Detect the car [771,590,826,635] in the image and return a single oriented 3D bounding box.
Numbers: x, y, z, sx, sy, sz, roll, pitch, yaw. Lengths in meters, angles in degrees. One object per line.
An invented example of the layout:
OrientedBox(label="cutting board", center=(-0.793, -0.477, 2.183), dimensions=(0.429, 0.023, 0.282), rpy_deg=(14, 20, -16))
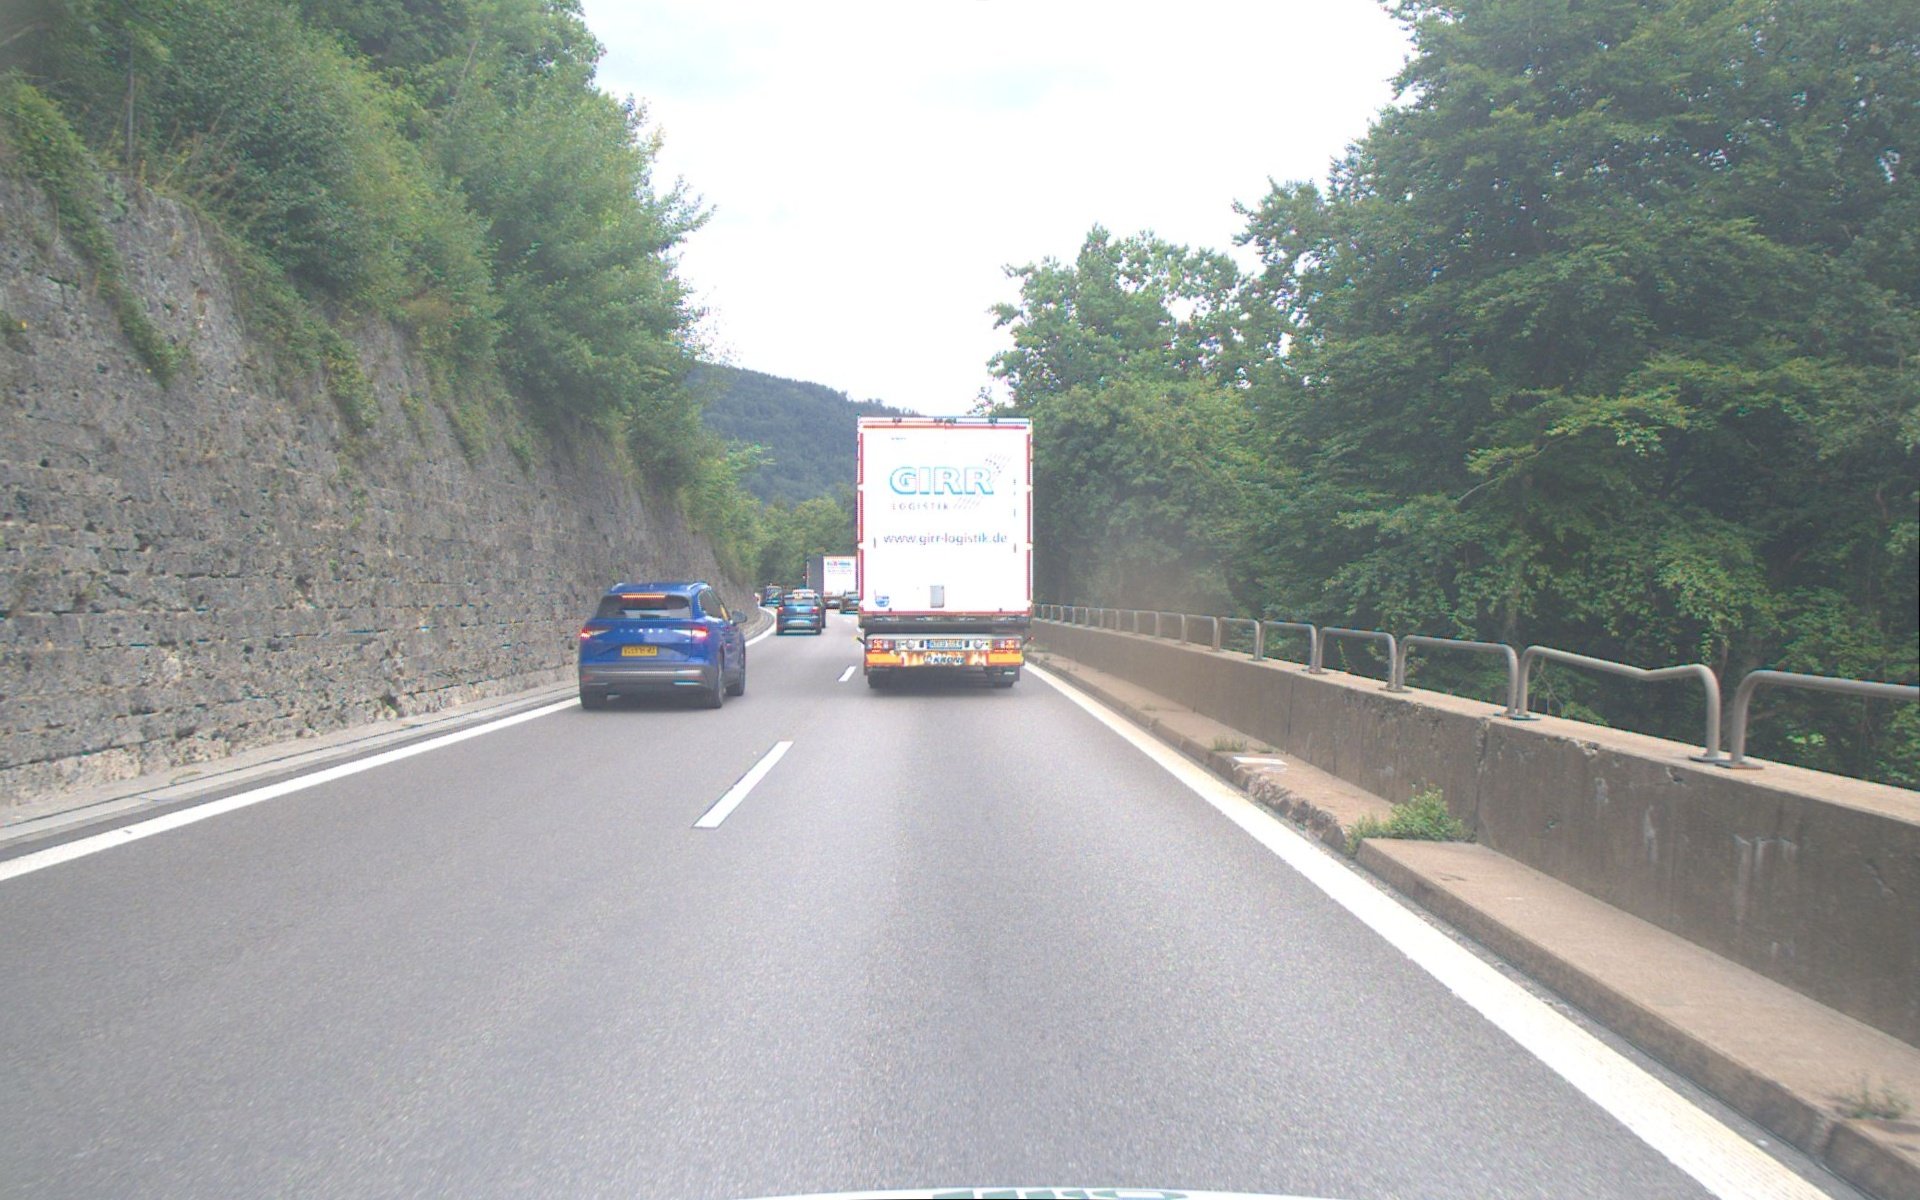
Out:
OrientedBox(label="car", center=(-5.984, 0.440, 61.520), dimensions=(1.955, 1.624, 4.349), rpy_deg=(1, 0, -5))

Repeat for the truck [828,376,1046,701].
OrientedBox(label="truck", center=(-0.521, -0.950, 30.937), dimensions=(3.022, 4.542, 15.151), rpy_deg=(-1, 1, -2))

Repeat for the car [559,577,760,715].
OrientedBox(label="car", center=(-4.009, 0.563, 22.914), dimensions=(1.953, 1.660, 5.007), rpy_deg=(-1, 0, -1))

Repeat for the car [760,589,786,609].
OrientedBox(label="car", center=(-15.280, -0.110, 135.217), dimensions=(1.862, 1.577, 4.239), rpy_deg=(1, 1, -10))

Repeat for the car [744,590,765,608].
OrientedBox(label="car", center=(-20.630, -0.076, 165.732), dimensions=(1.714, 1.614, 3.990), rpy_deg=(6, -1, -10))

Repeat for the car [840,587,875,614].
OrientedBox(label="car", center=(-6.619, 0.041, 106.669), dimensions=(2.021, 1.683, 3.995), rpy_deg=(-1, 1, -6))

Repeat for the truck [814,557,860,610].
OrientedBox(label="truck", center=(-9.686, -1.298, 129.300), dimensions=(2.585, 3.925, 12.334), rpy_deg=(-1, 1, -9))

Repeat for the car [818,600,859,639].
OrientedBox(label="car", center=(-5.234, 0.842, 71.388), dimensions=(1.711, 1.614, 3.996), rpy_deg=(0, -1, -5))
